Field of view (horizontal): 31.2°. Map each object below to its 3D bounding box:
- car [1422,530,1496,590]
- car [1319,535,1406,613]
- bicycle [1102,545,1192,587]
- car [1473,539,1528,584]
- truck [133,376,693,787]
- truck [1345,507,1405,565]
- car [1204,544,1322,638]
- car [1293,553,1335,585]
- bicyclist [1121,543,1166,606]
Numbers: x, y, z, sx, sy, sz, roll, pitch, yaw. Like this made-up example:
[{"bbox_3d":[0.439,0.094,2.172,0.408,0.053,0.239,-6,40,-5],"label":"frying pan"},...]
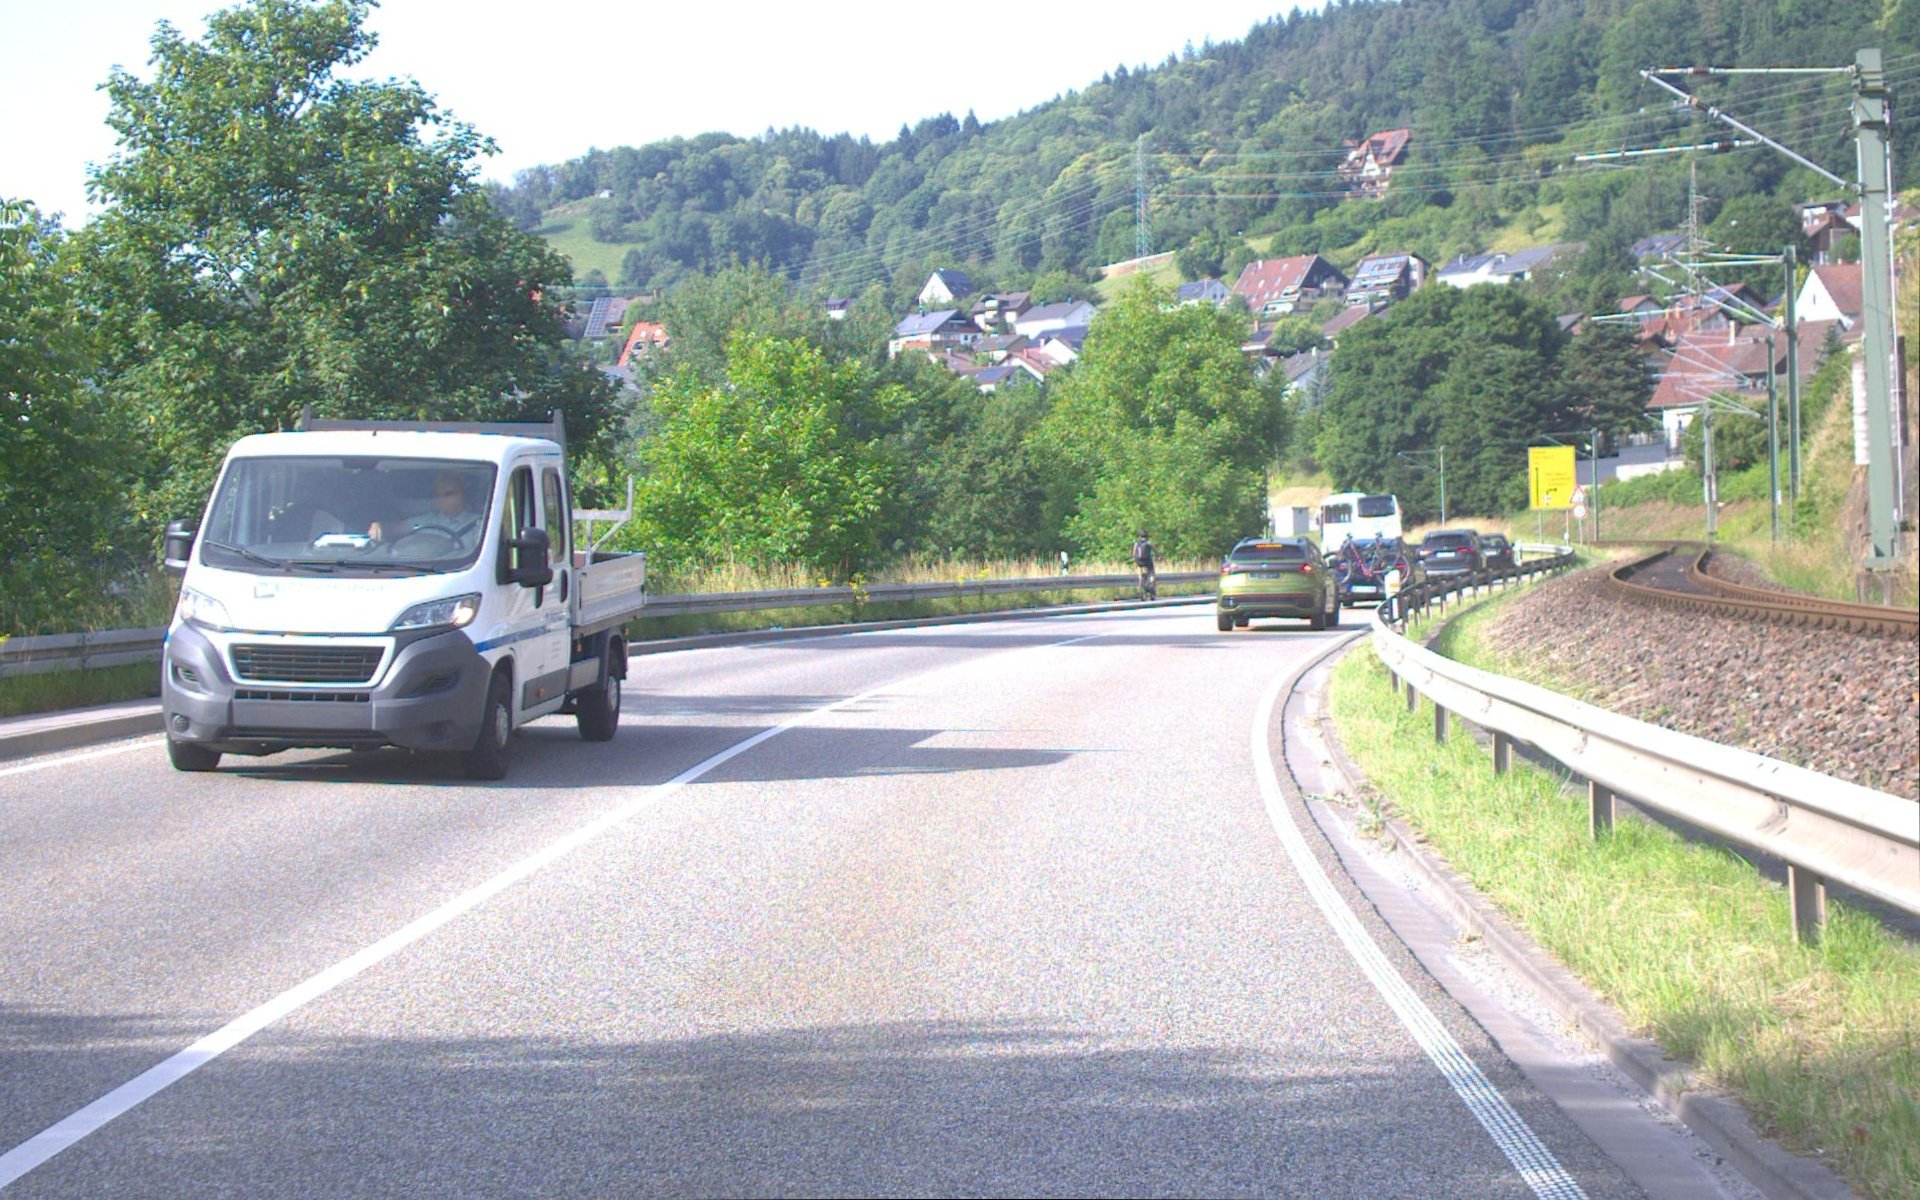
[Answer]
[{"bbox_3d":[14.388,-1.170,98.989,1.881,1.681,3.998,0,1,12],"label":"car"},{"bbox_3d":[8.338,-0.558,71.034,1.667,1.554,3.999,0,1,8],"label":"car"},{"bbox_3d":[4.745,-0.860,87.369,2.224,1.042,0.559,1,2,17],"label":"bicycle"},{"bbox_3d":[19.238,-1.366,122.202,1.849,1.521,3.661,-1,0,10],"label":"car"},{"bbox_3d":[-3.473,-0.162,23.486,2.157,2.358,6.745,1,1,5],"label":"truck"},{"bbox_3d":[22.443,-3.476,186.155,2.712,3.073,6.108,0,1,2],"label":"truck"},{"bbox_3d":[5.020,-0.176,56.598,1.715,1.450,3.999,1,1,8],"label":"car"},{"bbox_3d":[18.495,-1.626,179.629,1.578,1.474,3.998,6,2,13],"label":"car"},{"bbox_3d":[4.664,-0.642,87.416,1.033,1.581,0.559,1,2,18],"label":"bicyclist"}]
